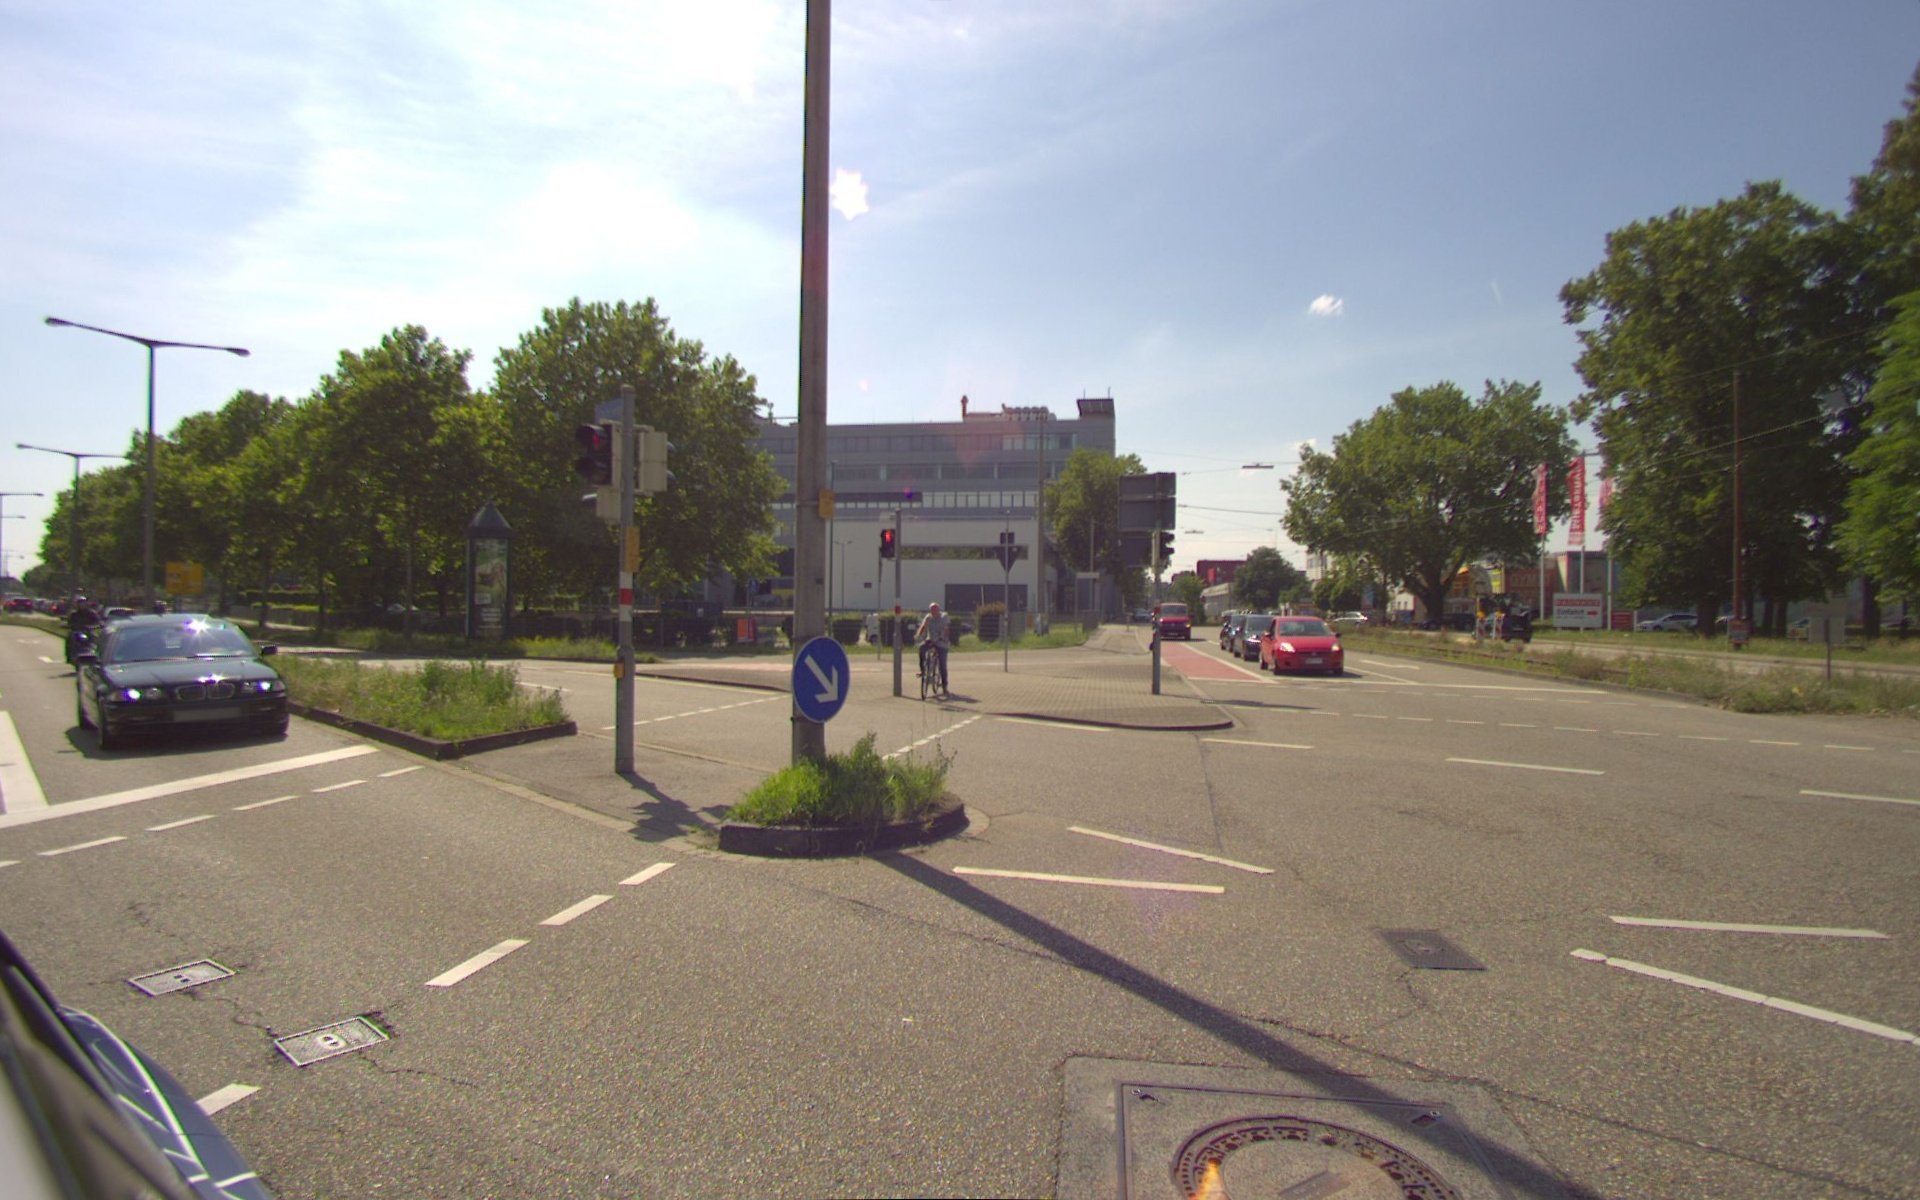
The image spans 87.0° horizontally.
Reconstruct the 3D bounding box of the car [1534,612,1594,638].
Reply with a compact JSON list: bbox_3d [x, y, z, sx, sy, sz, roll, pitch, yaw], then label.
[{"bbox_3d":[47.886,1.980,80.308,3.981,2.029,1.981,0,-1,28],"label":"car"}]

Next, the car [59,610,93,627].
[{"bbox_3d":[-75.806,1.552,86.793,3.767,1.445,1.827,-1,-1,44],"label":"car"}]

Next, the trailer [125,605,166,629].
[{"bbox_3d":[-60.325,1.230,74.921,2.037,1.729,3.995,1,-1,-43],"label":"trailer"}]

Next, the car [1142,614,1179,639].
[{"bbox_3d":[14.344,1.891,72.612,1.973,1.712,3.996,0,-1,3],"label":"car"}]

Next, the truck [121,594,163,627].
[{"bbox_3d":[-64.002,0.835,79.141,2.113,2.494,7.137,1,-1,-42],"label":"truck"}]

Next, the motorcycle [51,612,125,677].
[{"bbox_3d":[-19.606,0.962,22.736,2.332,1.361,1.037,-1,-1,44],"label":"motorcycle"}]

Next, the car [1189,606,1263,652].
[{"bbox_3d":[10.355,1.099,39.680,1.974,1.712,3.996,0,-1,3],"label":"car"}]

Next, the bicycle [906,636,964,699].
[{"bbox_3d":[-0.443,1.231,19.054,0.521,1.072,2.155,0,-1,15],"label":"bicycle"}]

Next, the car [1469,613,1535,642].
[{"bbox_3d":[28.271,1.405,52.905,1.770,1.454,4.210,0,-1,9],"label":"car"}]

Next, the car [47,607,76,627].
[{"bbox_3d":[-93.438,1.776,105.271,4.002,2.029,1.971,-1,-1,45],"label":"car"}]

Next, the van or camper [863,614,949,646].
[{"bbox_3d":[-2.950,1.607,55.717,4.458,1.704,1.996,0,-1,7],"label":"van or camper"}]

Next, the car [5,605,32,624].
[{"bbox_3d":[-102.990,1.542,110.683,4.002,2.029,1.971,-1,-1,45],"label":"car"}]

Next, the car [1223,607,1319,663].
[{"bbox_3d":[10.040,1.093,33.001,1.973,1.712,3.998,0,-1,1],"label":"car"}]

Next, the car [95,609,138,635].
[{"bbox_3d":[-51.558,1.321,61.857,3.737,1.525,1.630,-1,-1,44],"label":"car"}]

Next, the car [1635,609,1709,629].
[{"bbox_3d":[55.727,1.486,79.271,4.338,1.576,1.868,0,-1,12],"label":"car"}]

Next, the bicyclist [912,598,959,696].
[{"bbox_3d":[-0.447,0.866,19.051,0.699,1.802,0.764,0,-1,15],"label":"bicyclist"}]

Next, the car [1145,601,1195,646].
[{"bbox_3d":[11.017,1.215,53.462,2.126,2.295,5.030,0,-1,7],"label":"car"}]

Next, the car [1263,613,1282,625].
[{"bbox_3d":[38.210,2.292,123.723,1.681,1.438,3.849,0,-1,10],"label":"car"}]

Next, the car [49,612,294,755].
[{"bbox_3d":[-9.472,0.855,12.043,4.068,1.372,1.707,-1,0,43],"label":"car"}]

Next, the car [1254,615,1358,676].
[{"bbox_3d":[8.899,1.120,26.355,1.826,1.460,3.990,0,-1,8],"label":"car"}]

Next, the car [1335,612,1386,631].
[{"bbox_3d":[31.844,1.709,80.546,1.760,1.454,4.231,0,-1,-10],"label":"car"}]

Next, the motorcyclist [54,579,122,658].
[{"bbox_3d":[-19.597,0.414,22.756,1.042,1.712,1.051,-1,-1,44],"label":"motorcyclist"}]
